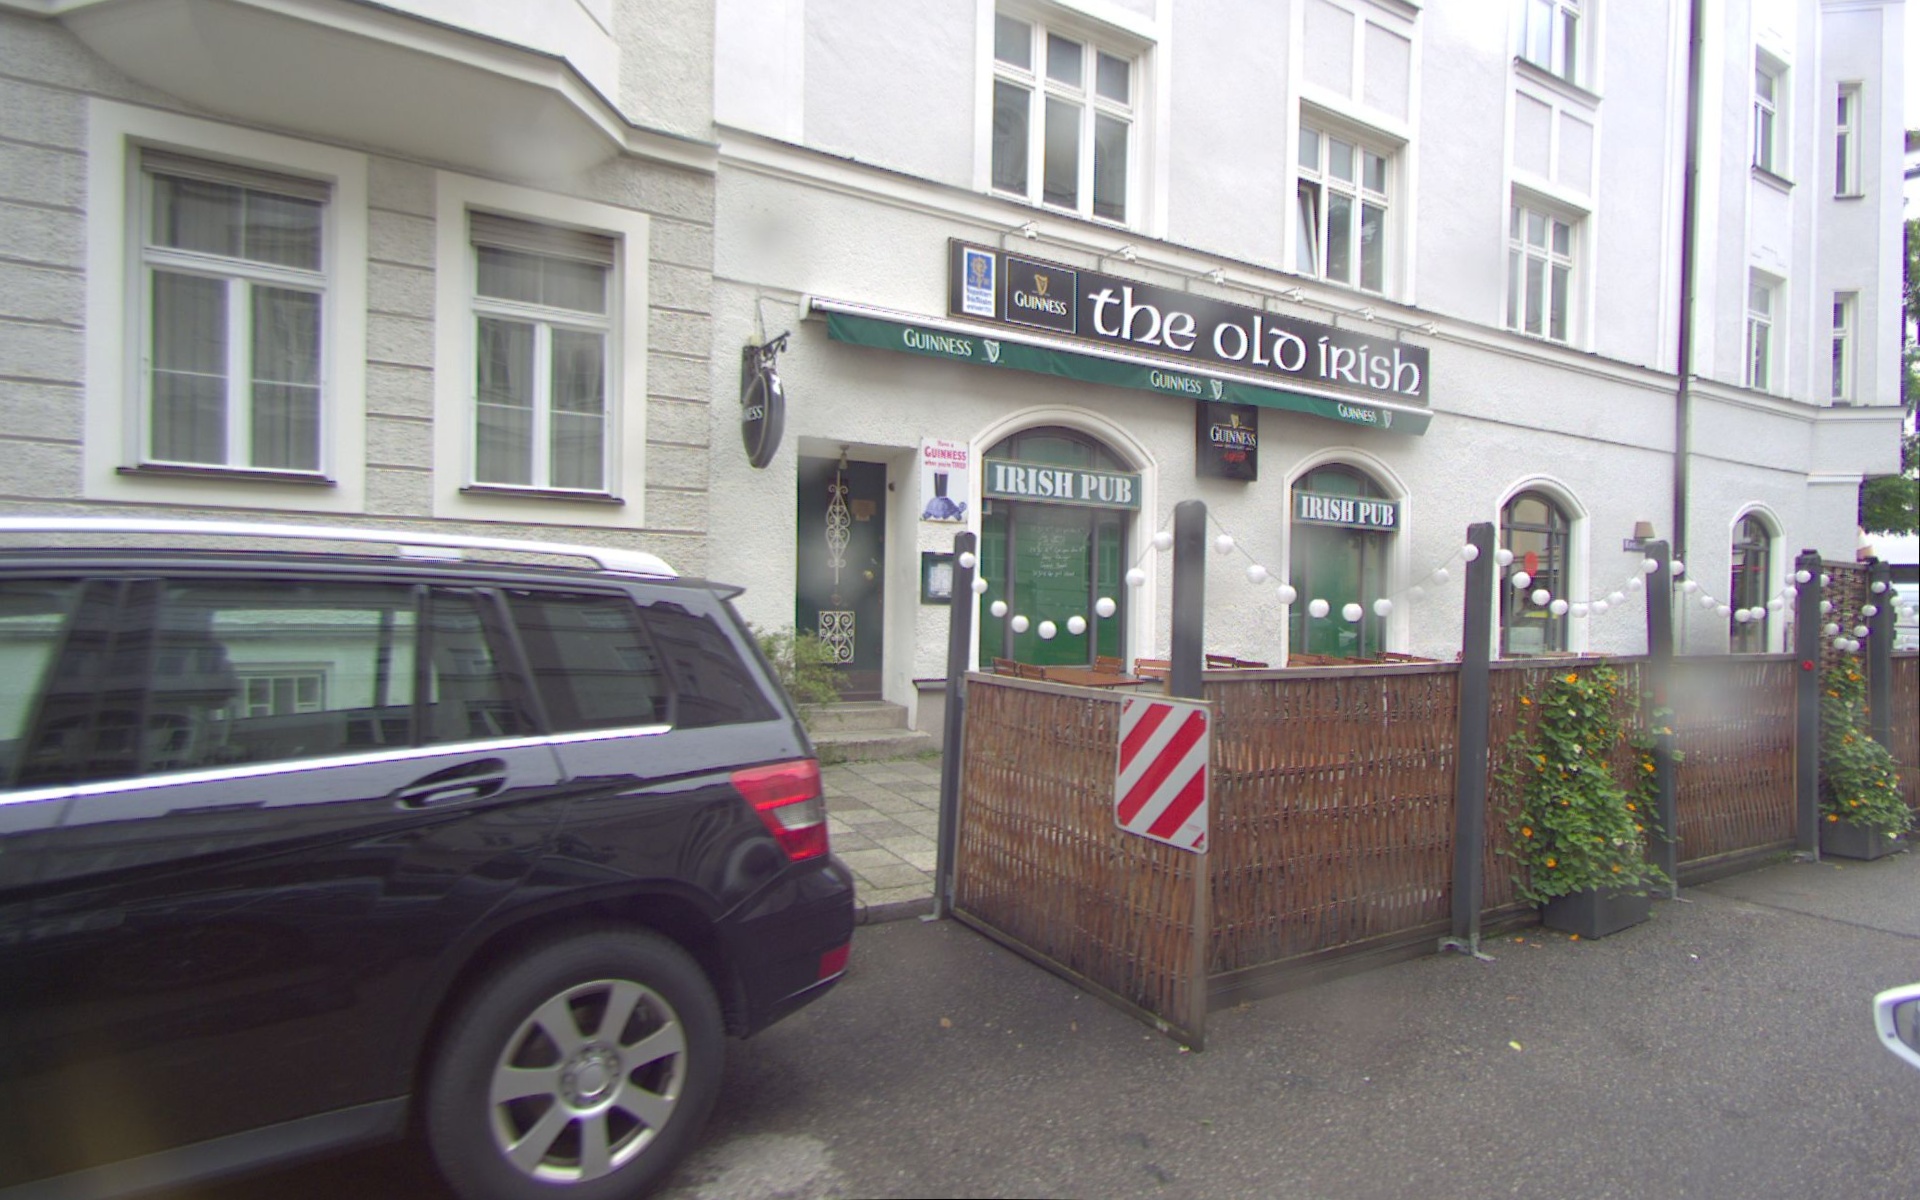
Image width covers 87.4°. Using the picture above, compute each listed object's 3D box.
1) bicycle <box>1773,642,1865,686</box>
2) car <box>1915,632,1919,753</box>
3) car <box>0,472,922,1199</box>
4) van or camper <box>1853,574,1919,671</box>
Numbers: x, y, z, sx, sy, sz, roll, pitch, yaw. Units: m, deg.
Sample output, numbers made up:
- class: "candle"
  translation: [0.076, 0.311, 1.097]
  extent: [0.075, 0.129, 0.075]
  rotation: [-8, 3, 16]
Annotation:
- class: "bicycle"
  translation: [20.645, 1.527, 24.194]
  extent: [1.537, 0.959, 0.897]
  rotation: [2, -1, 32]
- class: "car"
  translation: [13.262, 1.087, 11.929]
  extent: [3.952, 1.408, 1.700]
  rotation: [1, -2, -29]
- class: "car"
  translation: [-2.344, 0.653, 2.462]
  extent: [4.231, 1.695, 1.736]
  rotation: [1, -3, -34]
- class: "van or camper"
  translation: [28.468, 0.671, 27.448]
  extent: [1.858, 2.712, 5.855]
  rotation: [3, -2, -40]
